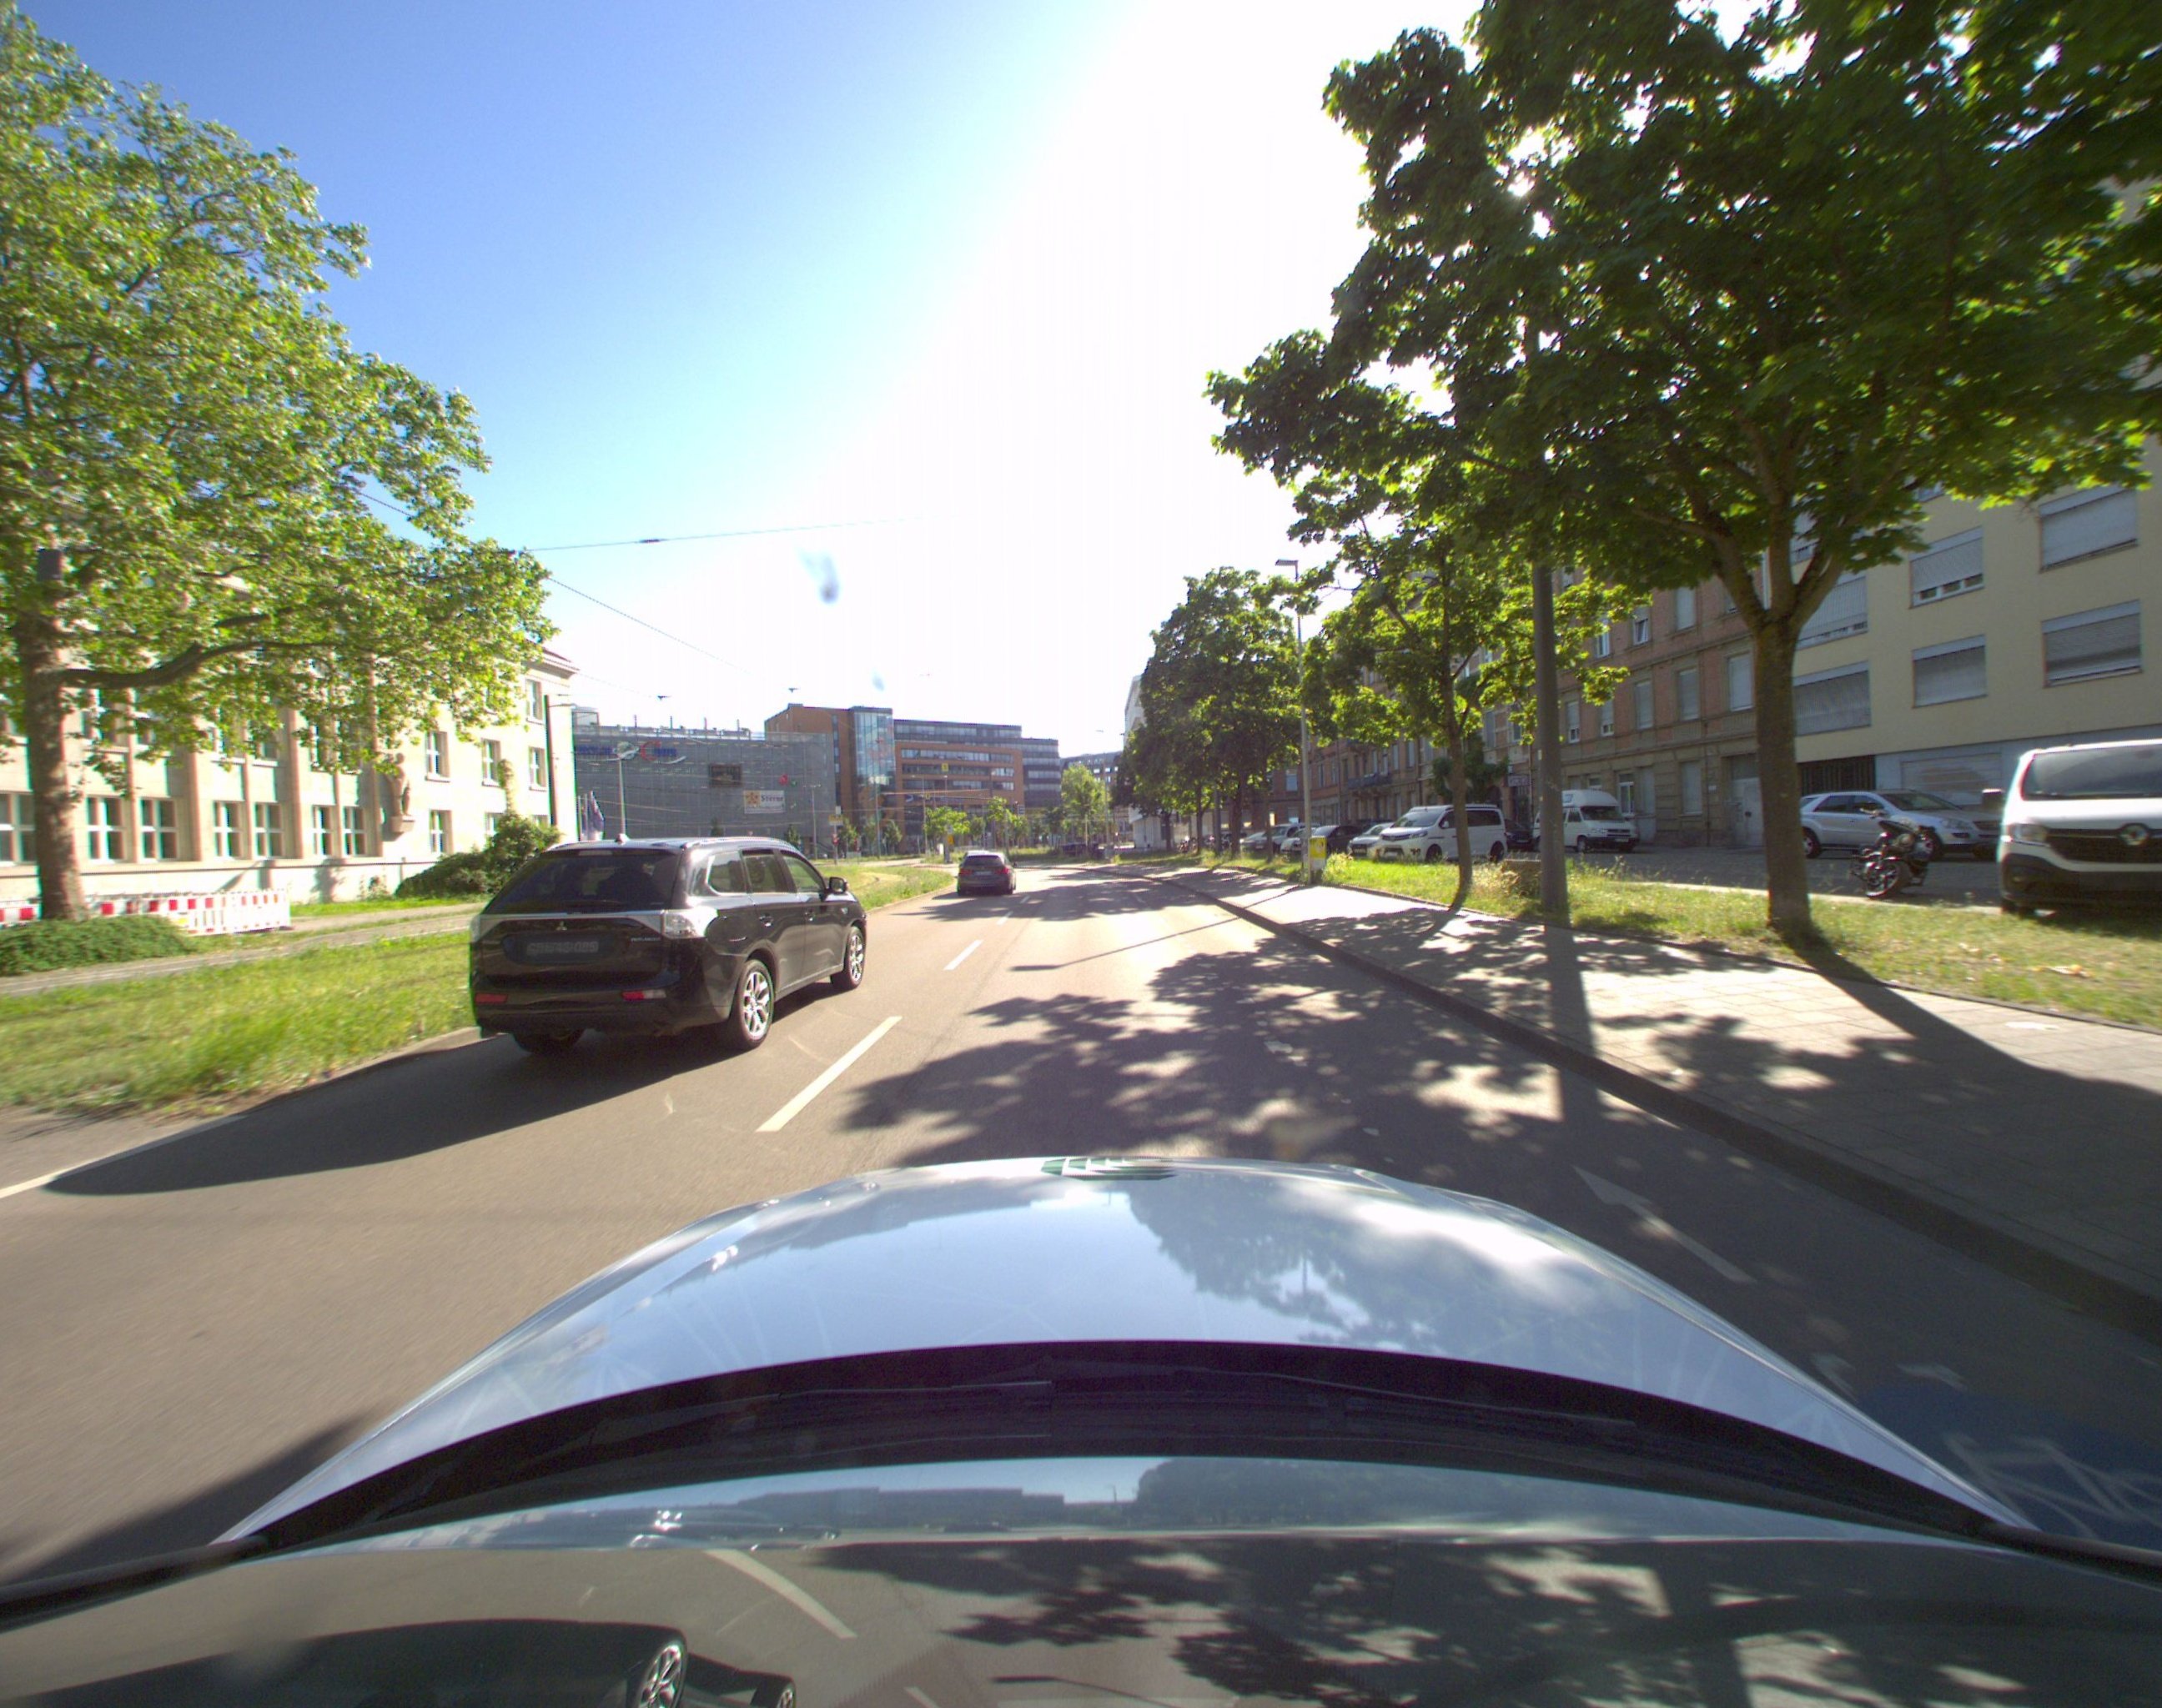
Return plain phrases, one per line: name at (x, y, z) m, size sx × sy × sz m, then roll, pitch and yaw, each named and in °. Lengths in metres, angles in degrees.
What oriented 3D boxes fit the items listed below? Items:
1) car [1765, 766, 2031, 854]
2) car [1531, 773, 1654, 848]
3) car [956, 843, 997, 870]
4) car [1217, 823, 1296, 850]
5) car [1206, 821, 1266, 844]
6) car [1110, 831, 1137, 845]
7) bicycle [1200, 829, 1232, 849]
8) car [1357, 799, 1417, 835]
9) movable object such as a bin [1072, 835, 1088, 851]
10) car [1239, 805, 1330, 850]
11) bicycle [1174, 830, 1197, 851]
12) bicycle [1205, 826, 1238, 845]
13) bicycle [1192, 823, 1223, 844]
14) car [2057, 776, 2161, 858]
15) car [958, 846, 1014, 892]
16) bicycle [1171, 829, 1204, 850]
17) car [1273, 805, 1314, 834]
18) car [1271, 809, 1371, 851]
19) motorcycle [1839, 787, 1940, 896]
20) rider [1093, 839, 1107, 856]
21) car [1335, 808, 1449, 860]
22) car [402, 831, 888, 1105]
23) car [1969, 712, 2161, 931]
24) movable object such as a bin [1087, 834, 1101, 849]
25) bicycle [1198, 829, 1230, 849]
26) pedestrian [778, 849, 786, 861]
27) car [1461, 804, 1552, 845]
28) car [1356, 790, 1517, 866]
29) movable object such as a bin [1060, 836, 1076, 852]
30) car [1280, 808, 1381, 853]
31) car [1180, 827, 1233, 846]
car at (20.191, -1.065, 20.498) m, size 1.987 × 1.799 × 4.626 m, roll -5°, pitch 2°, yaw 0°
car at (20.078, -1.681, 32.253) m, size 1.986 × 2.584 × 4.515 m, roll -5°, pitch 2°, yaw 2°
car at (-5.900, 0.168, 45.678) m, size 1.636 × 1.423 × 3.760 m, roll -1°, pitch 0°, yaw -17°
car at (11.060, -1.117, 51.172) m, size 4.772 × 1.380 × 2.024 m, roll -5°, pitch 2°, yaw -34°
car at (12.384, -1.726, 64.959) m, size 4.486 × 1.565 × 1.918 m, roll -4°, pitch 2°, yaw -32°
car at (7.175, -2.669, 136.846) m, size 3.957 × 2.013 × 2.009 m, roll -3°, pitch 1°, yaw 15°
bicycle at (9.036, -0.994, 54.495) m, size 1.939 × 1.180 × 0.900 m, roll -5°, pitch 1°, yaw -1°
car at (19.518, -2.352, 52.147) m, size 1.987 × 1.977 × 4.725 m, roll -5°, pitch 2°, yaw 0°
movable object such as a bin at (-0.088, -1.092, 80.566) m, size 1.098 × 1.398 × 1.328 m, roll -3°, pitch 2°, yaw 20°
car at (11.350, -1.498, 45.328) m, size 4.901 × 2.012 × 2.078 m, roll -6°, pitch 2°, yaw -34°
bicycle at (7.014, -0.894, 54.610) m, size 0.760 × 1.289 × 1.608 m, roll -3°, pitch 2°, yaw 40°
bicycle at (9.984, -1.312, 57.947) m, size 2.158 × 1.158 × 0.821 m, roll -3°, pitch 1°, yaw -4°
bicycle at (9.348, -1.512, 60.268) m, size 2.094 × 1.398 × 0.784 m, roll -4°, pitch 1°, yaw -11°
car at (20.405, -0.686, 14.157) m, size 1.872 × 1.420 × 4.165 m, roll -5°, pitch 2°, yaw 0°
car at (-3.180, 0.489, 27.941) m, size 1.731 × 1.423 × 4.459 m, roll -1°, pitch 0°, yaw -5°
bicycle at (7.474, -1.004, 57.063) m, size 2.090 × 1.364 × 0.786 m, roll -4°, pitch 1°, yaw -6°
car at (19.619, -3.187, 75.282) m, size 2.341 × 2.356 × 5.189 m, roll -5°, pitch 2°, yaw 1°
car at (12.493, -1.253, 42.377) m, size 4.896 × 1.647 × 2.081 m, roll -6°, pitch 2°, yaw -30°
motorcycle at (11.875, -0.220, 12.030) m, size 0.844 × 1.420 × 2.276 m, roll -3°, pitch 3°, yaw 41°
rider at (1.460, -0.466, 61.667) m, size 0.498 × 1.176 × 1.684 m, roll -3°, pitch 2°, yaw 17°
car at (11.339, -0.754, 29.657) m, size 4.047 × 1.478 × 1.794 m, roll -6°, pitch 2°, yaw -34°
car at (-3.357, 0.695, 7.562) m, size 1.829 × 1.682 × 4.645 m, roll -3°, pitch 1°, yaw 1°
car at (12.101, -0.528, 9.282) m, size 4.902 × 2.074 × 1.999 m, roll -7°, pitch 3°, yaw -35°
movable object such as a bin at (1.307, -1.242, 80.552) m, size 1.020 × 1.398 × 1.096 m, roll -3°, pitch 2°, yaw 20°
bicycle at (9.042, -1.018, 55.420) m, size 1.951 × 1.191 × 0.841 m, roll -5°, pitch 1°, yaw -1°
pedestrian at (-47.377, 0.147, 129.023) m, size 0.861 × 1.737 × 0.744 m, roll -5°, pitch 2°, yaw -45°
car at (20.173, -1.389, 38.822) m, size 1.987 × 1.691 × 4.514 m, roll -3°, pitch 2°, yaw 1°
car at (11.801, -0.886, 26.942) m, size 5.204 × 2.012 × 2.081 m, roll -6°, pitch 2°, yaw -30°
movable object such as a bin at (-1.269, -0.994, 80.497) m, size 1.059 × 1.398 × 1.311 m, roll -3°, pitch 2°, yaw 20°
car at (12.009, -1.149, 39.165) m, size 4.527 × 1.727 × 1.981 m, roll -6°, pitch 2°, yaw -30°
car at (10.676, -1.513, 69.389) m, size 4.062 × 1.337 × 1.825 m, roll -4°, pitch 2°, yaw -24°
